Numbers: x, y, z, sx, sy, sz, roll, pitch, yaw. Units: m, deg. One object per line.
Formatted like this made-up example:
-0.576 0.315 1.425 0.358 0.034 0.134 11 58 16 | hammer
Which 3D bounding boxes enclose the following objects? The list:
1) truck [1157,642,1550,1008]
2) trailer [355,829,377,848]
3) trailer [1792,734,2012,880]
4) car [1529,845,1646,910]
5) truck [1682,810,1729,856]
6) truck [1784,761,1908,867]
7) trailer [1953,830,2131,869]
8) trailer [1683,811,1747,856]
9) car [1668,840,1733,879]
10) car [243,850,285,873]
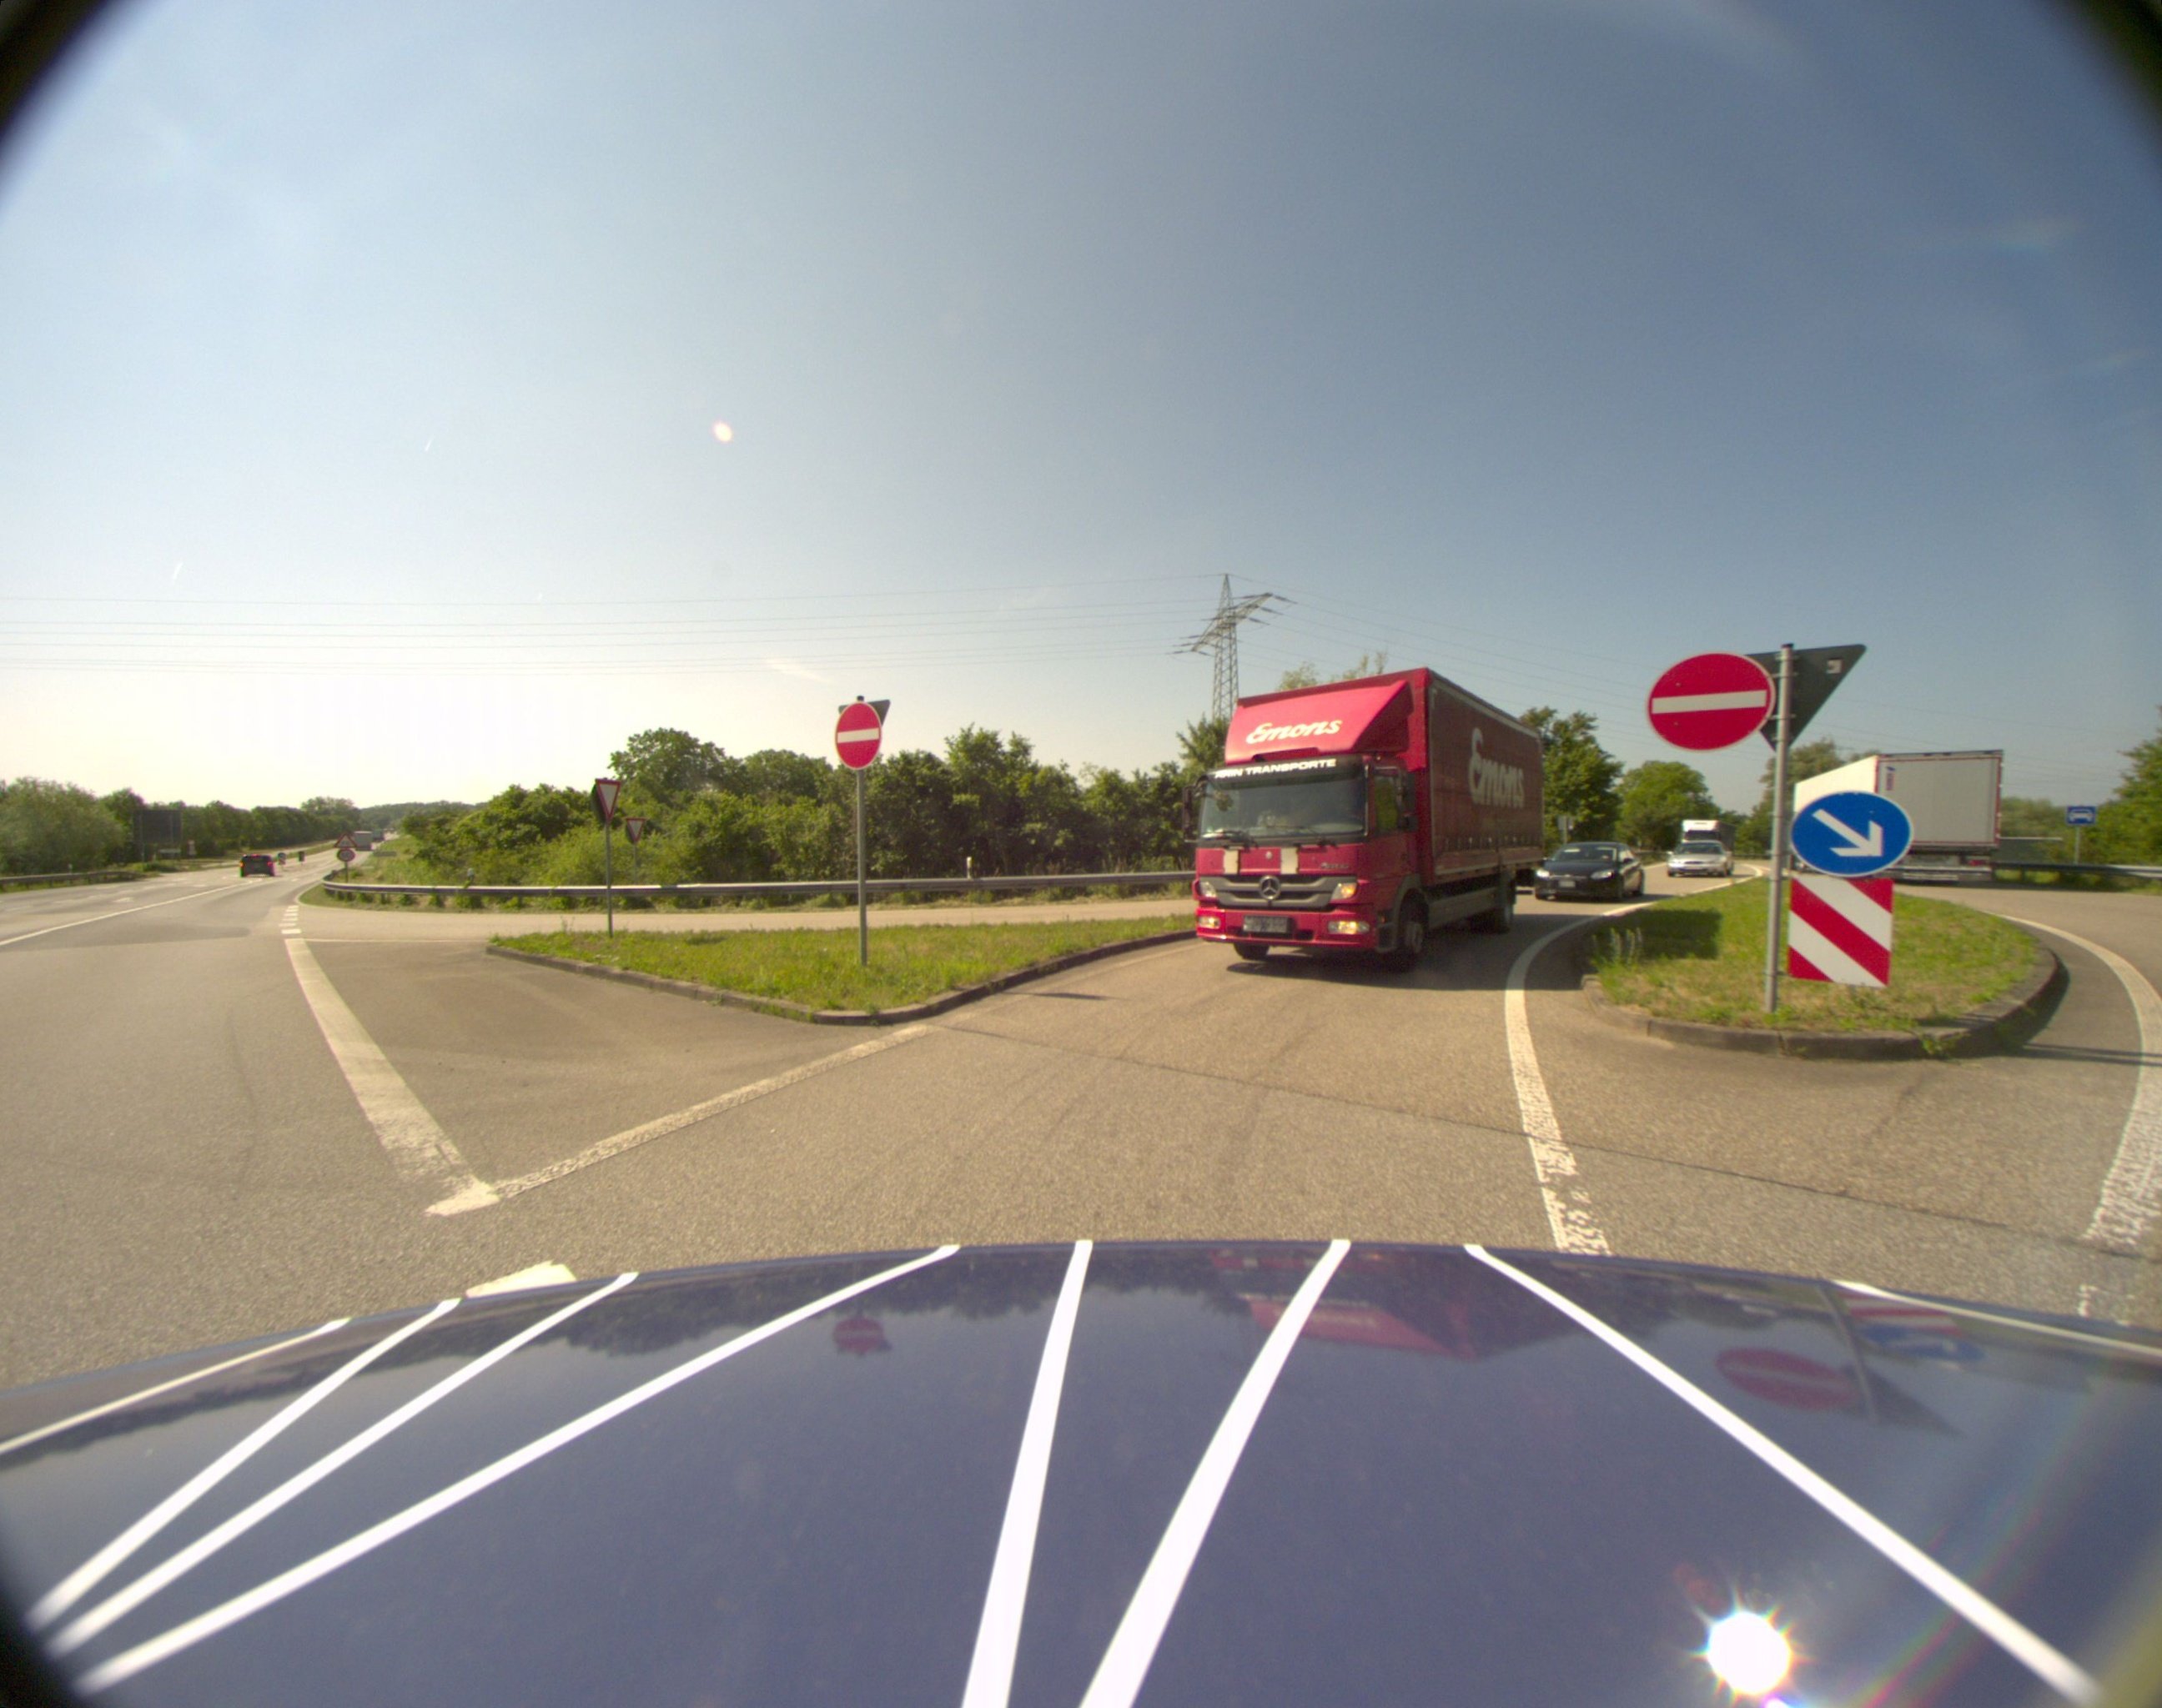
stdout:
4.989 -0.365 11.964 2.683 3.640 9.281 0 1 41 | truck
-159.636 -3.438 169.691 2.936 3.988 13.376 -2 2 -41 | trailer
29.257 -1.466 27.957 2.888 4.141 14.008 0 1 36 | trailer
12.889 0.521 19.232 1.783 1.406 4.008 0 1 44 | car
59.913 -1.982 72.862 2.931 4.214 5.744 3 3 43 | truck
32.943 -1.628 32.979 2.872 4.150 5.982 -1 1 36 | truck
111.724 -0.607 88.626 13.954 4.244 2.962 1 2 13 | trailer
64.667 -2.047 77.268 14.009 4.217 2.921 -1 3 -42 | trailer
24.121 0.184 29.534 1.783 1.377 4.387 0 1 41 | car
-70.824 0.673 65.948 2.004 1.868 4.980 -2 1 -42 | car
